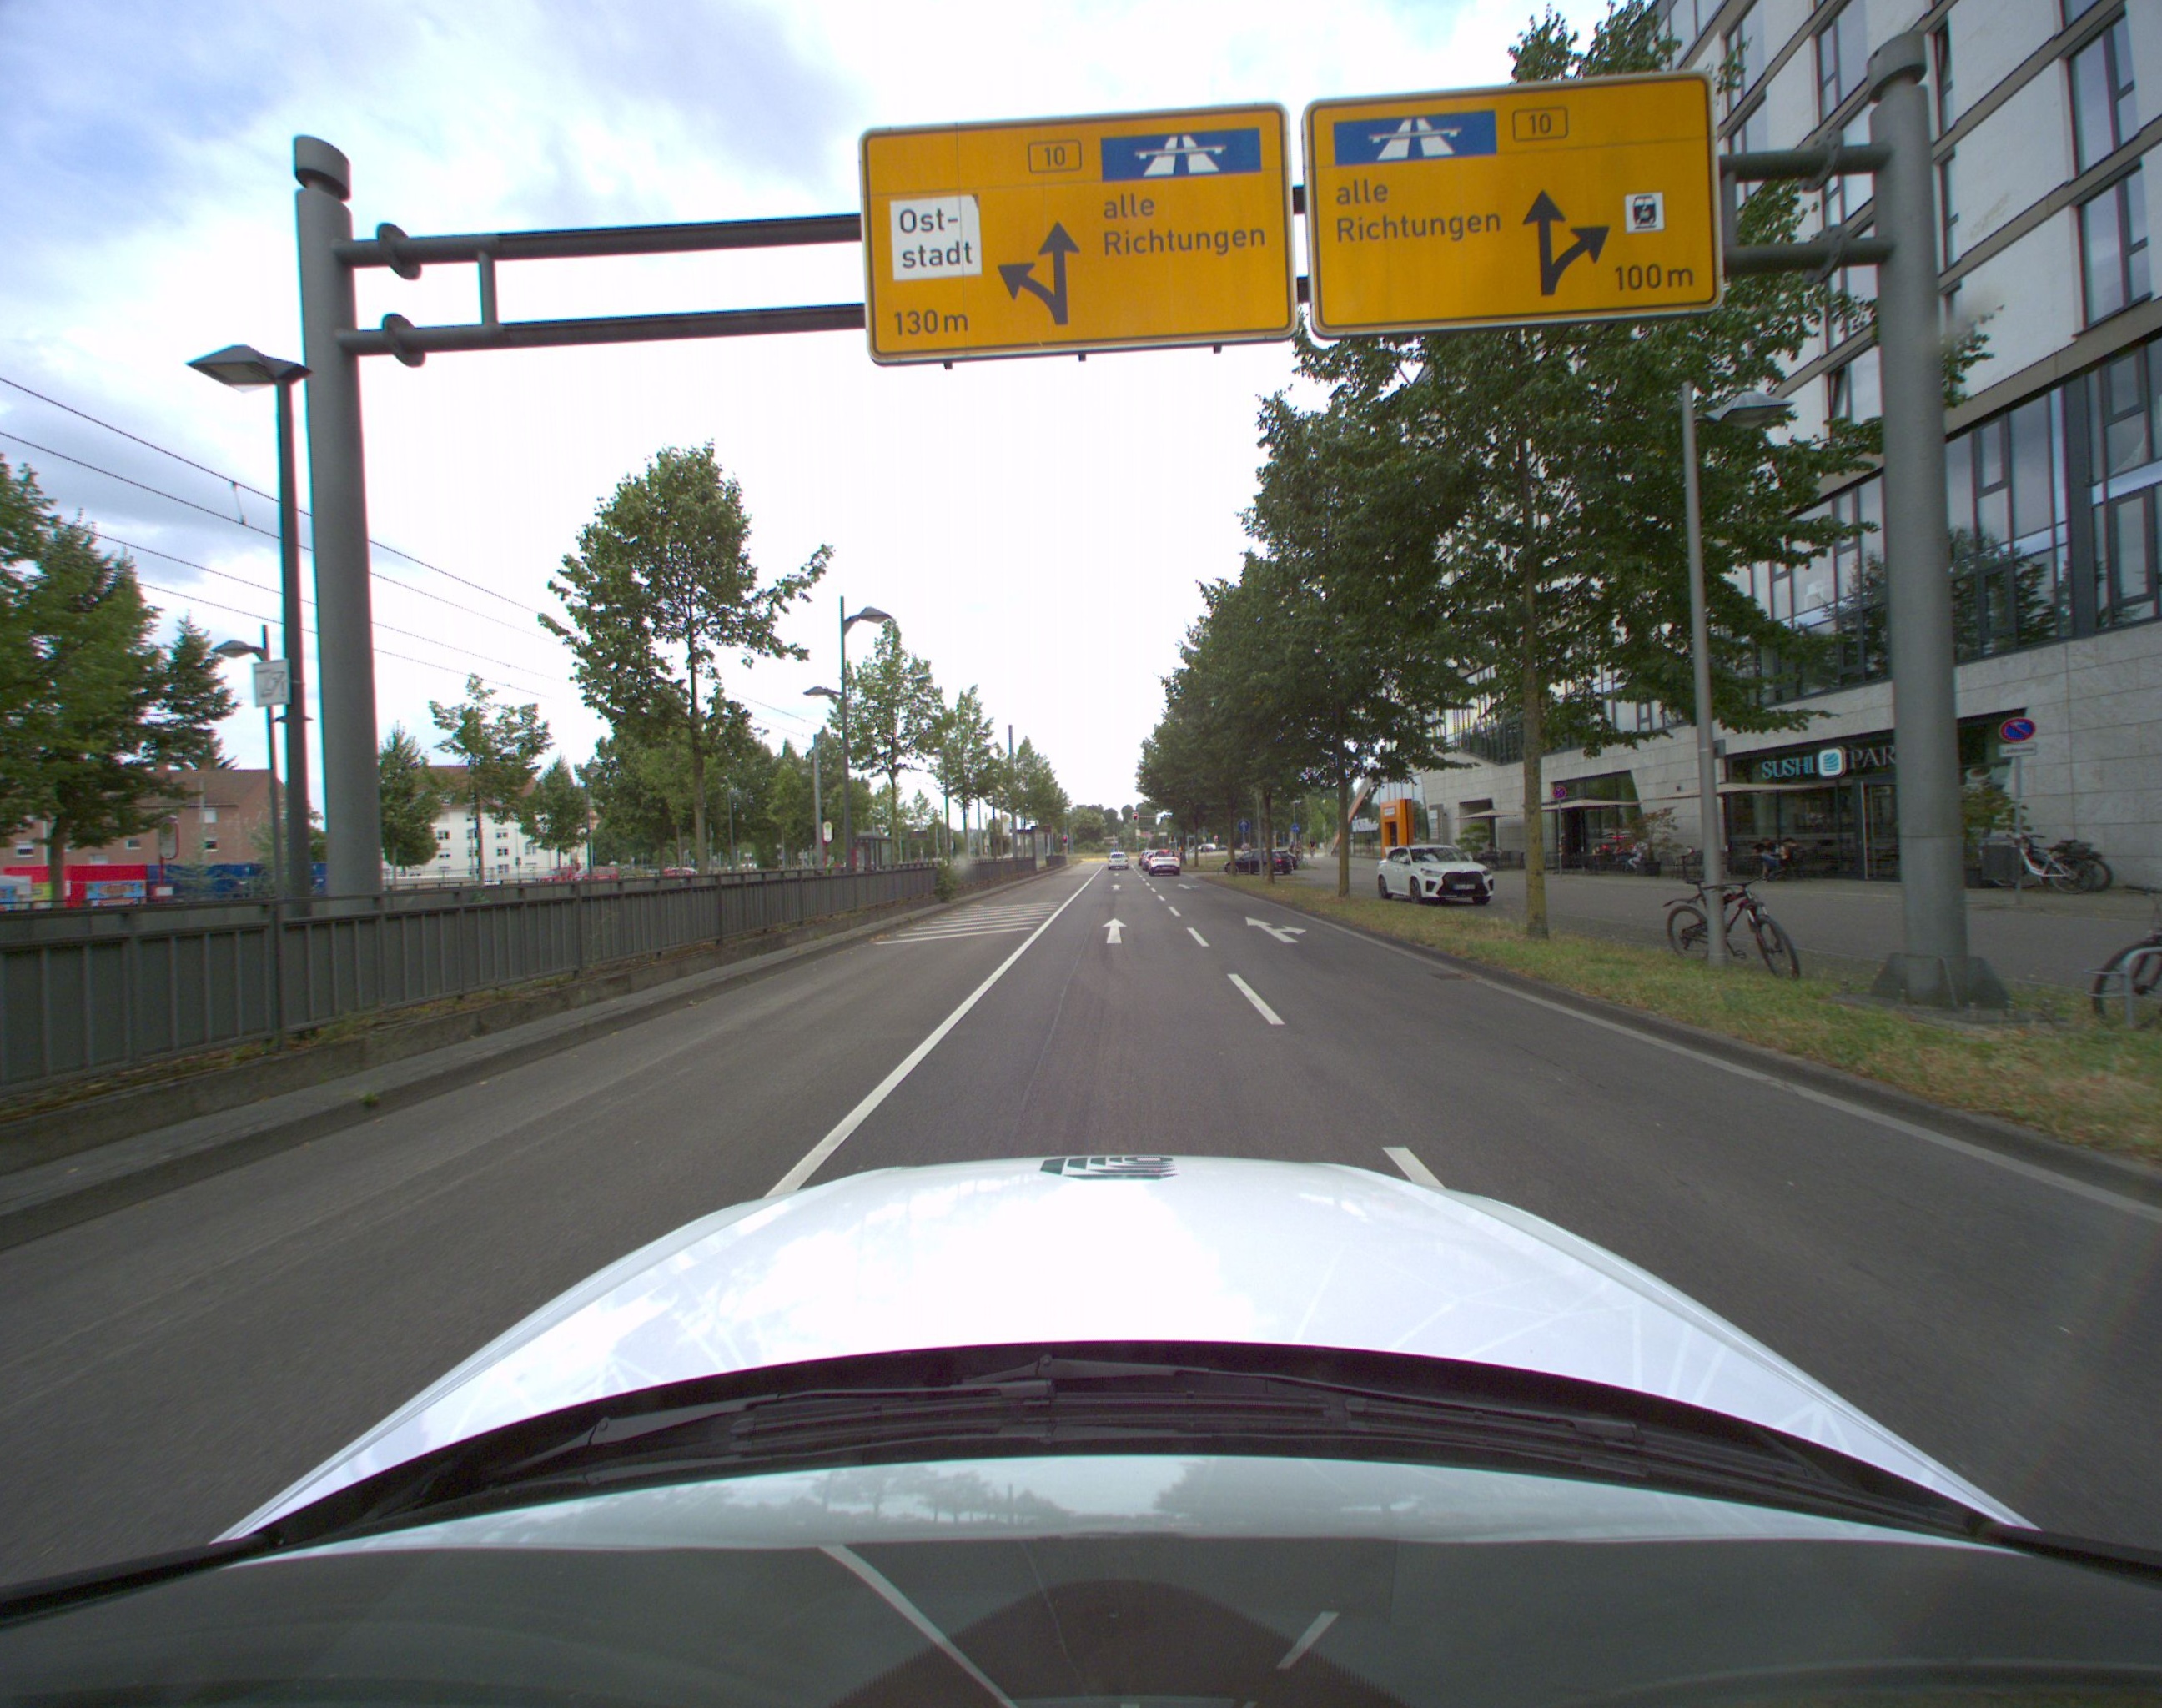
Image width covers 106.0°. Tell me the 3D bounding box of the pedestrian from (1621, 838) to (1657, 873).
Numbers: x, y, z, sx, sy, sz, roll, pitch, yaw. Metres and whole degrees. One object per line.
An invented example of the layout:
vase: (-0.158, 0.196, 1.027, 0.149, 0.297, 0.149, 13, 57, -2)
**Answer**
pedestrian: (19.495, 0.060, 28.477, 0.715, 1.192, 0.760, -2, 0, 4)

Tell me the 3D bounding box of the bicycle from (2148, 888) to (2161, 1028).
bicycle: (8.316, 0.730, 5.406, 1.855, 0.951, 0.501, 1, 0, -1)

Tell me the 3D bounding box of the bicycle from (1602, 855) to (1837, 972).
bicycle: (6.869, 0.574, 8.953, 0.709, 1.115, 2.199, 1, 0, -5)

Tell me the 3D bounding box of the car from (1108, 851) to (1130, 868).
car: (3.292, 0.472, 70.984, 1.767, 1.448, 3.911, -1, 0, 1)

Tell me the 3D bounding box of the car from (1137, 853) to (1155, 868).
car: (6.535, 0.674, 82.041, 1.619, 1.448, 3.911, -1, 0, 1)

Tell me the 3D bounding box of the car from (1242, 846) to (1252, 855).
car: (30.373, -0.692, 149.084, 1.771, 1.636, 4.417, -2, 0, 12)

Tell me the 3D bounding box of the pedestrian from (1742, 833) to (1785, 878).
pedestrian: (19.079, 0.037, 22.772, 0.712, 1.192, 0.763, -2, 0, 24)

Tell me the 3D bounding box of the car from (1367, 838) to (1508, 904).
car: (9.491, 0.409, 22.143, 1.931, 1.552, 4.595, -2, 0, 2)

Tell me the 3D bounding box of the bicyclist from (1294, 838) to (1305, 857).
bicyclist: (19.080, -0.566, 71.116, 0.722, 1.582, 0.990, -2, 0, 2)

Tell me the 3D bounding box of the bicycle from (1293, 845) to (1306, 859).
bicycle: (19.100, -0.191, 71.271, 0.670, 1.143, 2.008, -2, 0, 3)

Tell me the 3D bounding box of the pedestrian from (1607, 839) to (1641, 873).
pedestrian: (19.545, 0.073, 29.328, 0.716, 1.192, 0.759, -2, 0, 1)

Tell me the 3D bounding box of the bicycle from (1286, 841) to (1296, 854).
bicycle: (25.410, -0.749, 98.509, 0.702, 1.505, 2.008, -2, 0, 1)

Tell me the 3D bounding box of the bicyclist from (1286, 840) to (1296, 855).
bicyclist: (25.408, -0.766, 98.507, 0.863, 1.789, 1.175, -2, 0, 1)

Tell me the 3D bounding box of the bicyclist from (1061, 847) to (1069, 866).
bicyclist: (-1.650, 0.228, 86.025, 0.726, 1.883, 0.735, -2, 10, 0)

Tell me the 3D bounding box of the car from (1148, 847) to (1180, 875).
car: (5.205, 0.429, 51.627, 1.771, 1.656, 4.026, -2, 0, 3)

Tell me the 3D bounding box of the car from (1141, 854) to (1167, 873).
car: (5.892, 0.768, 66.143, 1.781, 1.432, 4.311, -2, 0, 1)

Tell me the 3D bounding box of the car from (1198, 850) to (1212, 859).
car: (23.555, 0.072, 154.474, 1.987, 1.791, 3.999, 0, -1, 0)

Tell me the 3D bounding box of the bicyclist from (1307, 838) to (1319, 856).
bicyclist: (20.334, -0.608, 71.414, 0.721, 1.582, 0.990, -2, 0, 3)

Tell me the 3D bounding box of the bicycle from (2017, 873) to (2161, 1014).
bicycle: (8.321, 0.665, 6.158, 1.855, 0.995, 0.574, 1, 0, -1)

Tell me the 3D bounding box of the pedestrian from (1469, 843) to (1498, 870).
pedestrian: (18.852, 0.127, 38.167, 0.893, 1.228, 0.952, -2, 0, 7)

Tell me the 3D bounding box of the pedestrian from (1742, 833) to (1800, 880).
pedestrian: (18.306, 0.073, 21.629, 0.766, 1.192, 1.111, -2, 0, 17)

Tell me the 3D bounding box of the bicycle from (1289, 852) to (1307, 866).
bicycle: (15.136, 0.335, 56.806, 0.628, 0.956, 2.106, -2, 0, -2)

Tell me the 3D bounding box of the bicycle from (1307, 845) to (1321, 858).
bicycle: (20.352, -0.227, 71.245, 0.670, 1.042, 2.008, -2, 0, 3)

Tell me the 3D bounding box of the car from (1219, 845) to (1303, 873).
car: (10.560, 0.304, 48.085, 1.954, 1.475, 4.821, -2, 0, -32)
